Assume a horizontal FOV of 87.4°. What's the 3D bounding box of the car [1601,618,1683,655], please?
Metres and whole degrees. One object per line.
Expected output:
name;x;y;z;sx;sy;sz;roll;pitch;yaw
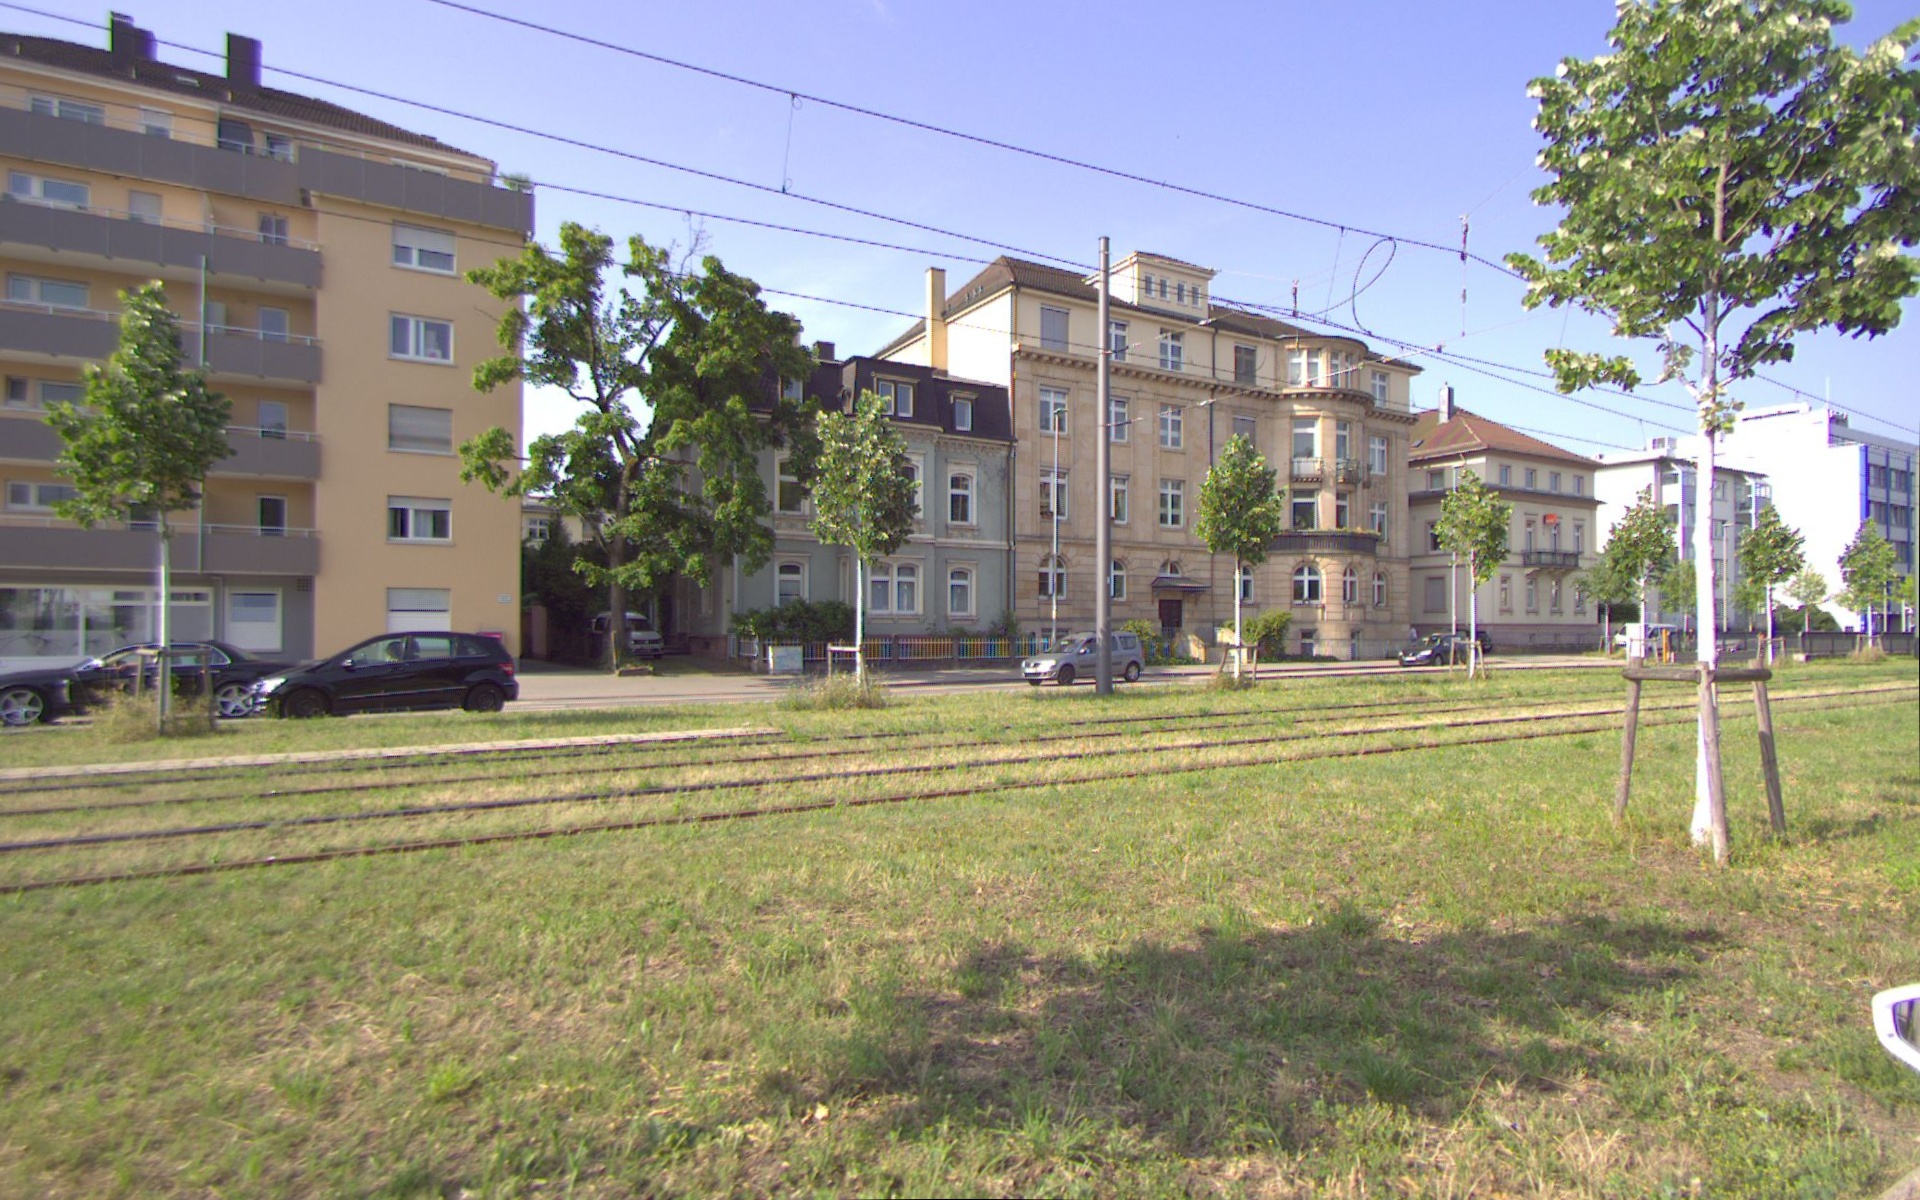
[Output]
car;41.918;2.247;61.719;5.206;2.040;2.237;3;0;-32

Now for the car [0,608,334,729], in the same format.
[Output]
car;-14.858;1.203;18.831;5.244;2.040;1.983;1;-2;-32

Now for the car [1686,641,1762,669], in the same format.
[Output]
car;43.975;3.163;57.771;4.387;1.486;1.984;3;-2;-30

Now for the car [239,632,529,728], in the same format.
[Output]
car;-10.336;1.363;18.269;4.350;1.533;1.983;1;-2;-32

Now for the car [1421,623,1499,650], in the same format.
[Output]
car;30.457;2.209;61.247;1.637;1.572;3.963;1;-2;-34

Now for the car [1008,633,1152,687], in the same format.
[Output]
car;3.859;1.858;31.992;4.486;1.597;1.980;1;-2;-37

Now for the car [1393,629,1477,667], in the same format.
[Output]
car;20.493;2.022;43.304;3.782;1.483;1.510;-1;-1;-32

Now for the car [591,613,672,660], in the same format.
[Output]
car;-13.175;1.444;40.125;2.140;1.771;4.606;1;-2;-31
